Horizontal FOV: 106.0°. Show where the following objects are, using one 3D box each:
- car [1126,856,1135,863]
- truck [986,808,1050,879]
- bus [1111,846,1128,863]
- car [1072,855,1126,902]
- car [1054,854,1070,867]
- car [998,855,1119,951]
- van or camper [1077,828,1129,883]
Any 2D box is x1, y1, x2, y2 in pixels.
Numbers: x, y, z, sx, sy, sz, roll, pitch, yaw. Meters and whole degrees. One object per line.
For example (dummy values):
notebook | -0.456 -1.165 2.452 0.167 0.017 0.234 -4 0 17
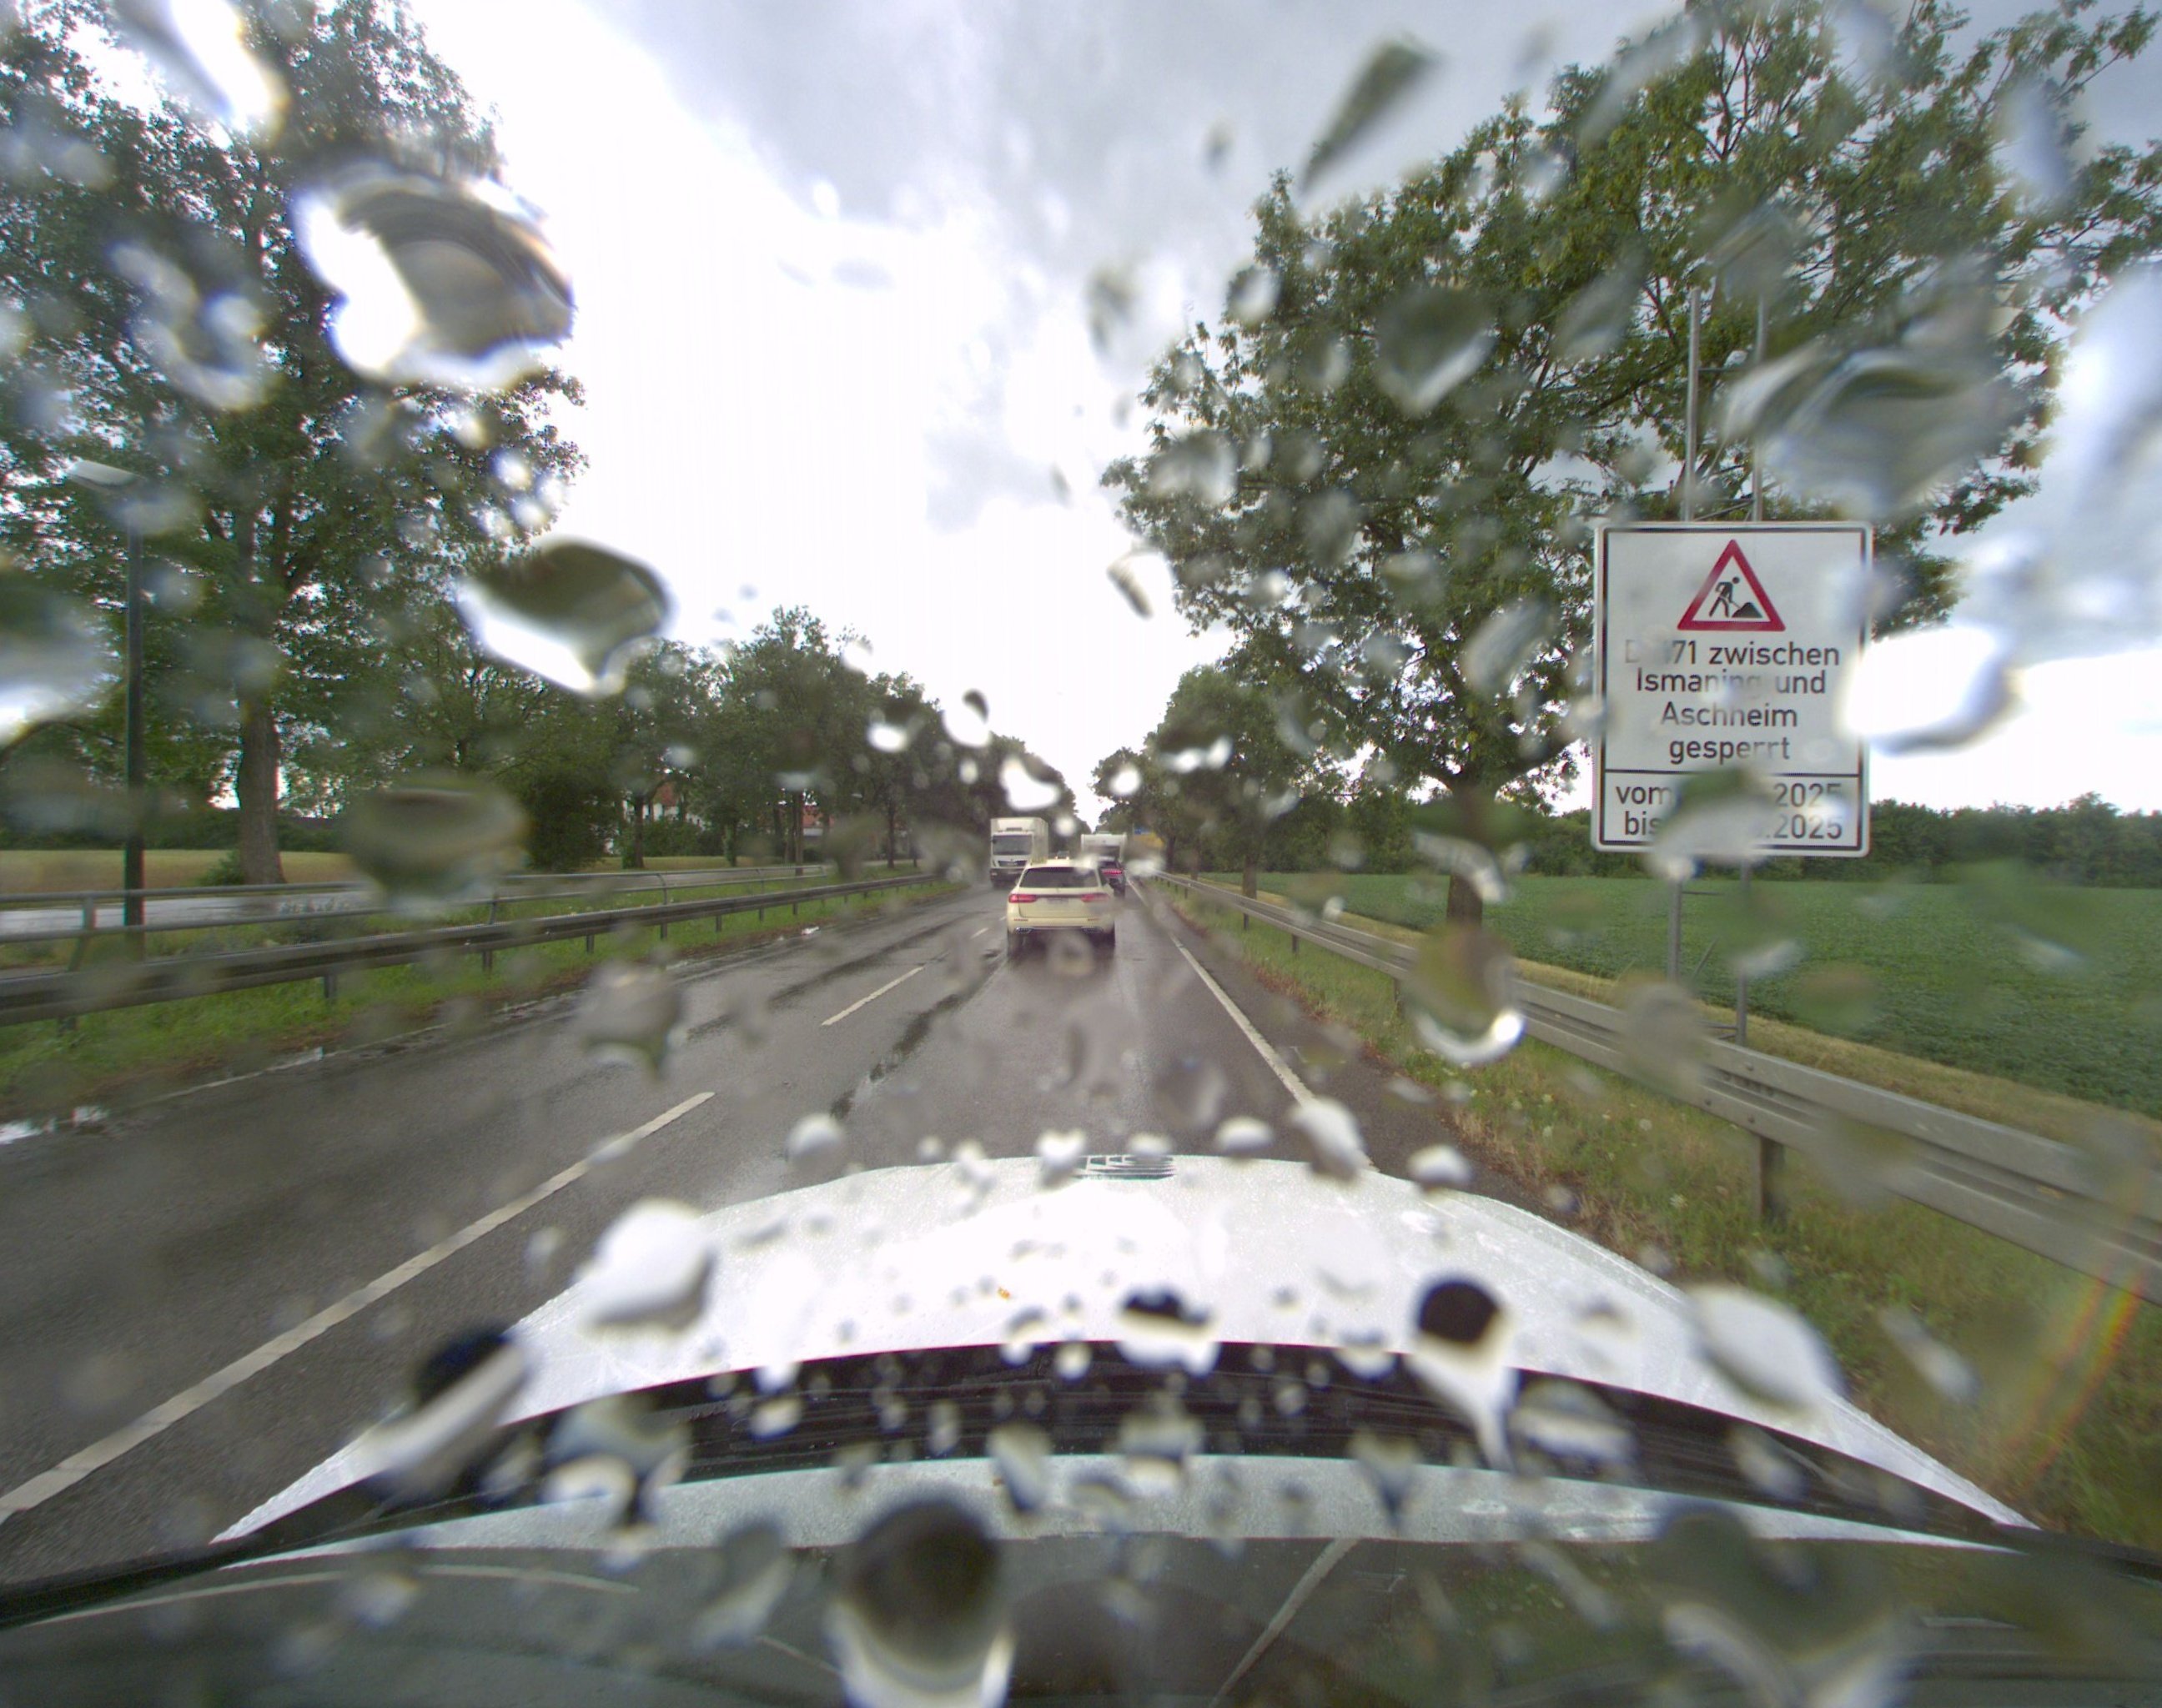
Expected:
car | 8.366 0.944 138.573 1.545 1.118 4.003 0 0 3
truck | -3.268 -0.522 44.719 2.567 3.452 9.557 -1 0 1
bus | 4.944 0.056 105.023 1.986 2.013 4.001 -1 0 1
car | 0.668 0.777 27.284 1.657 1.430 4.003 -1 0 3
car | -2.250 0.739 95.845 1.708 1.451 4.112 0 0 1
car | -0.263 0.773 14.753 1.857 1.476 4.003 -1 0 3
van or camper | 1.215 0.077 42.226 2.479 2.685 5.705 0 0 3
